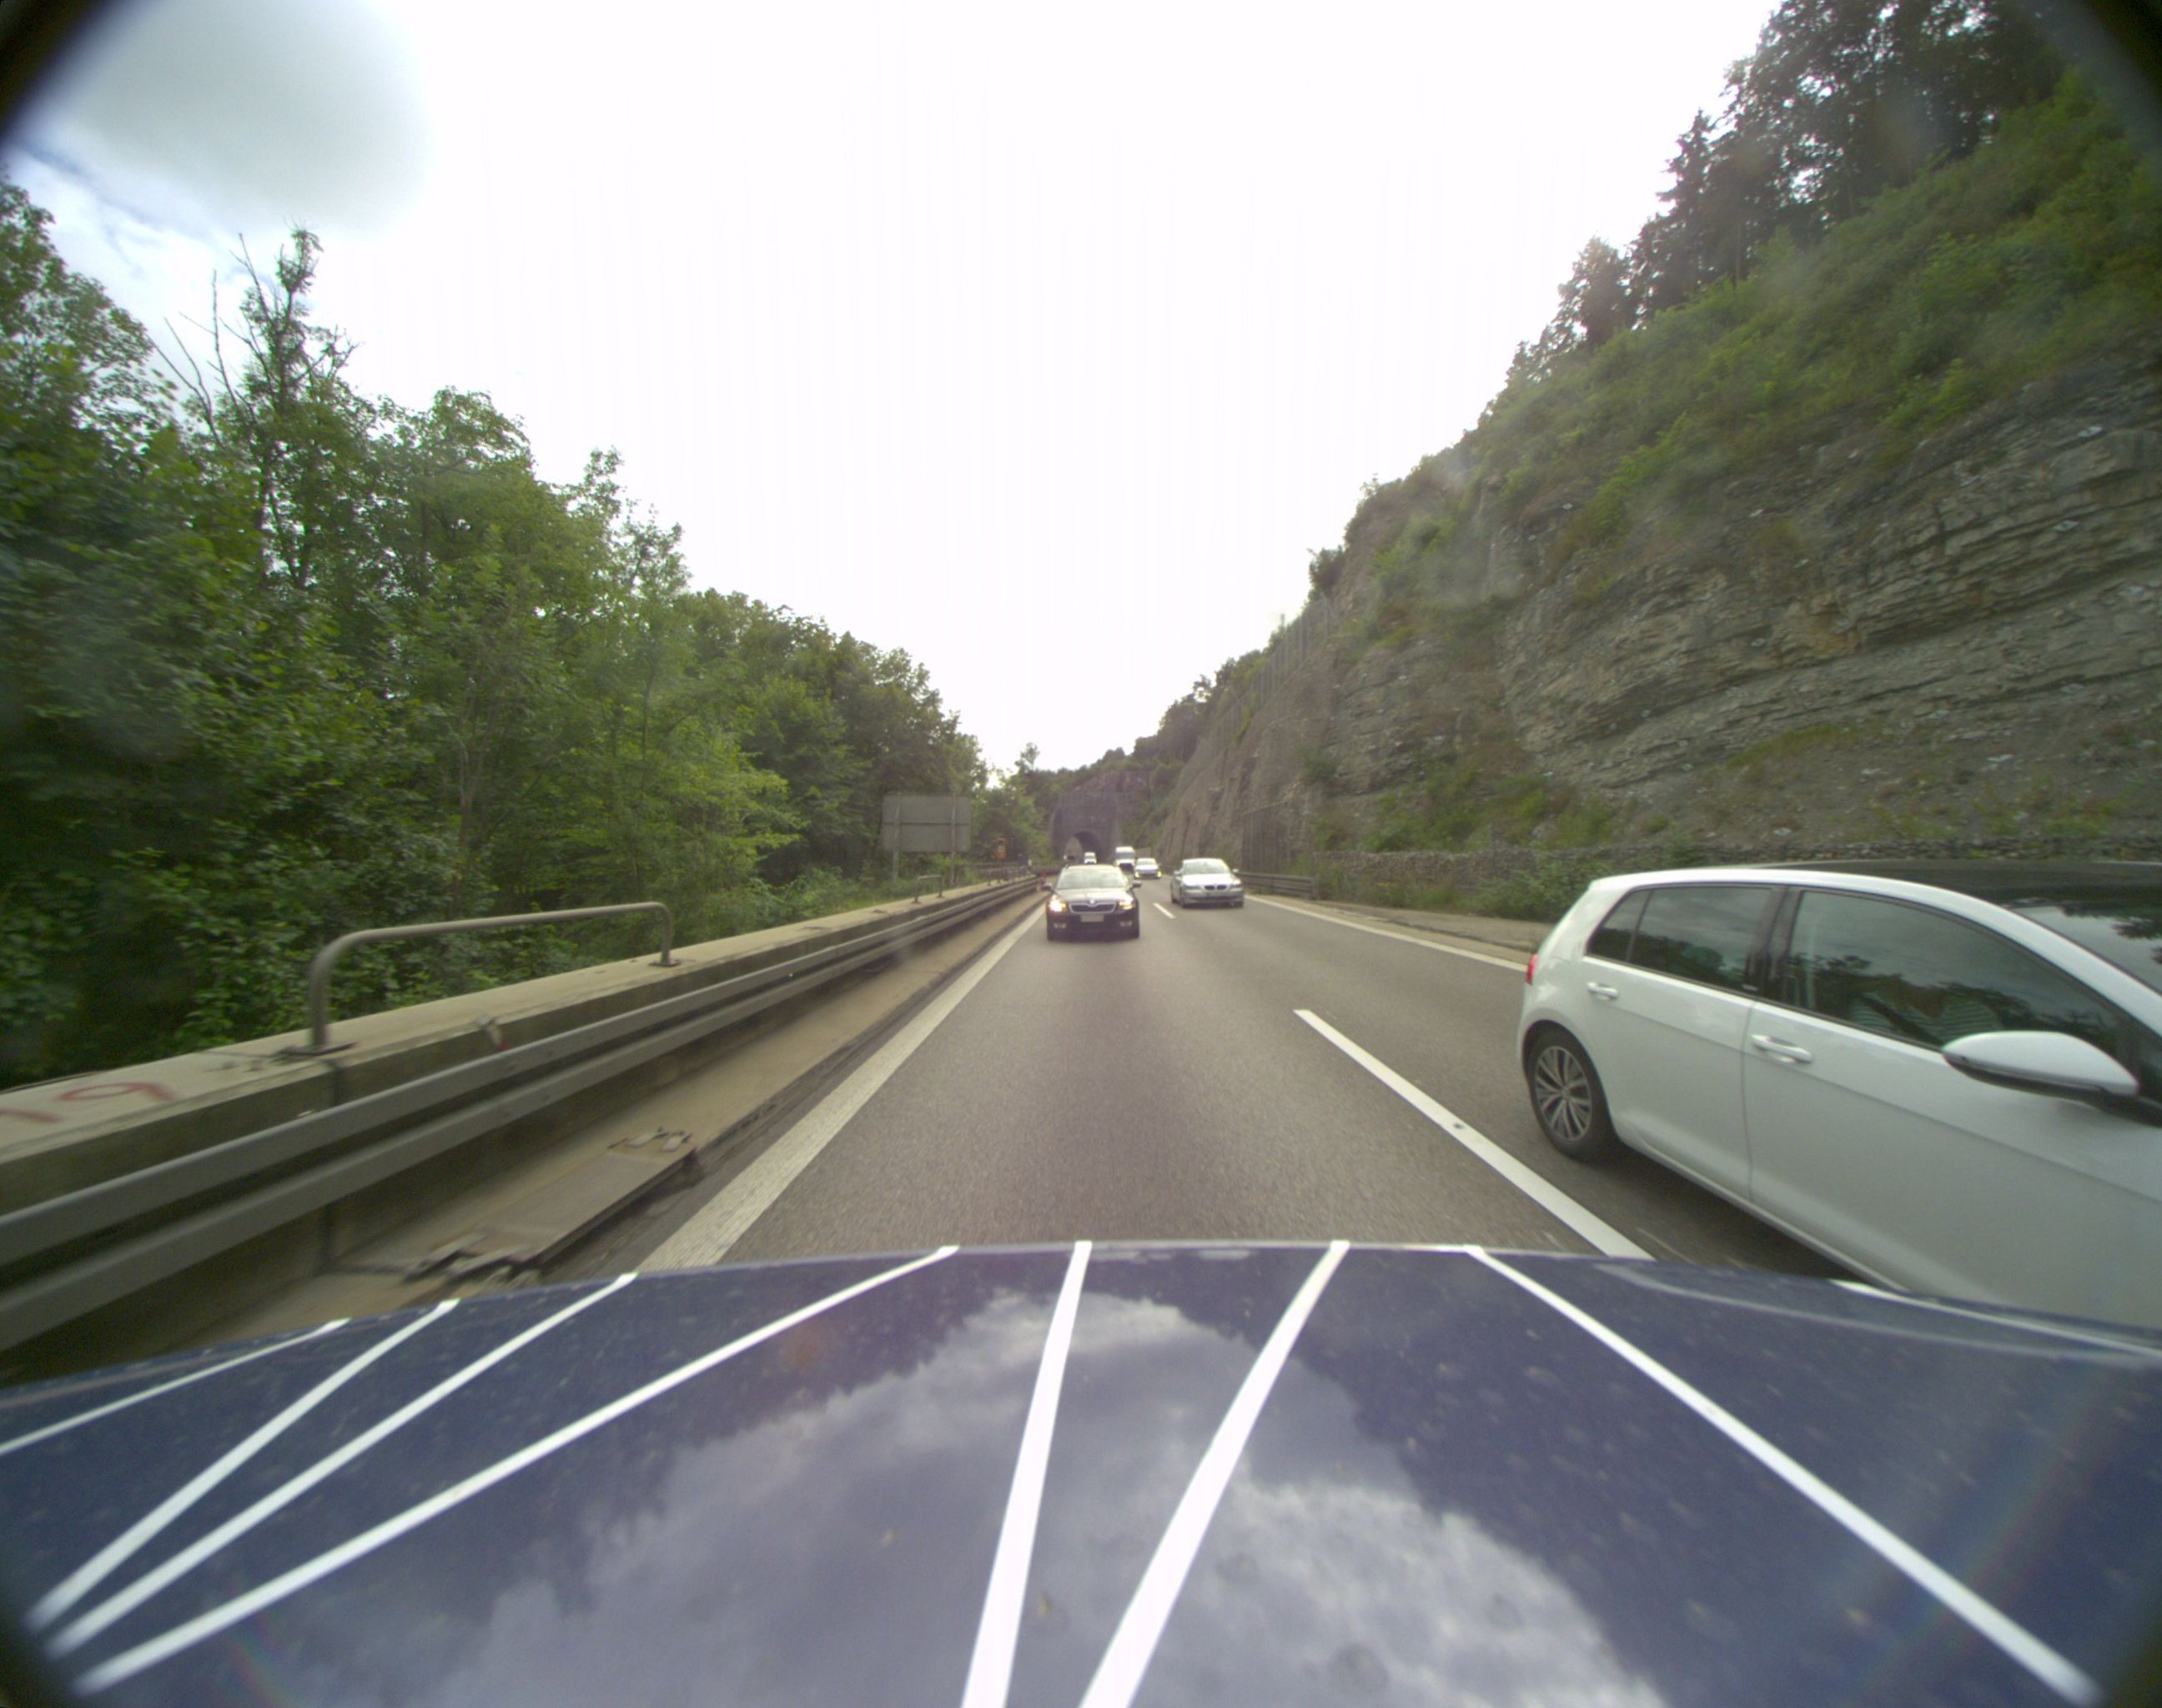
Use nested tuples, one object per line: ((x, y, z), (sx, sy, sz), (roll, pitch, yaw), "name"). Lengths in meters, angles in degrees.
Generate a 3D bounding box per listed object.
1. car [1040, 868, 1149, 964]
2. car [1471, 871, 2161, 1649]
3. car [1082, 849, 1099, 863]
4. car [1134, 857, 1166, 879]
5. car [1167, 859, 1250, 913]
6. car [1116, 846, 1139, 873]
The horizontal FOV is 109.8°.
((0.266, 1.021, 14.216), (1.677, 1.418, 4.473), (-2, 0, 1), "car")
((3.153, 0.873, 2.165), (1.849, 1.473, 4.628), (-1, 1, 2), "car")
((1.699, 0.319, 137.792), (2.674, 2.408, 6.120), (-2, 0, -2), "car")
((4.914, 0.970, 54.486), (1.922, 1.452, 4.231), (-2, 0, 1), "car")
((3.886, 0.928, 24.018), (1.832, 1.448, 5.136), (-2, 0, 1), "car")
((4.484, 0.493, 74.564), (1.869, 2.444, 4.982), (-2, 2, 0), "car")
